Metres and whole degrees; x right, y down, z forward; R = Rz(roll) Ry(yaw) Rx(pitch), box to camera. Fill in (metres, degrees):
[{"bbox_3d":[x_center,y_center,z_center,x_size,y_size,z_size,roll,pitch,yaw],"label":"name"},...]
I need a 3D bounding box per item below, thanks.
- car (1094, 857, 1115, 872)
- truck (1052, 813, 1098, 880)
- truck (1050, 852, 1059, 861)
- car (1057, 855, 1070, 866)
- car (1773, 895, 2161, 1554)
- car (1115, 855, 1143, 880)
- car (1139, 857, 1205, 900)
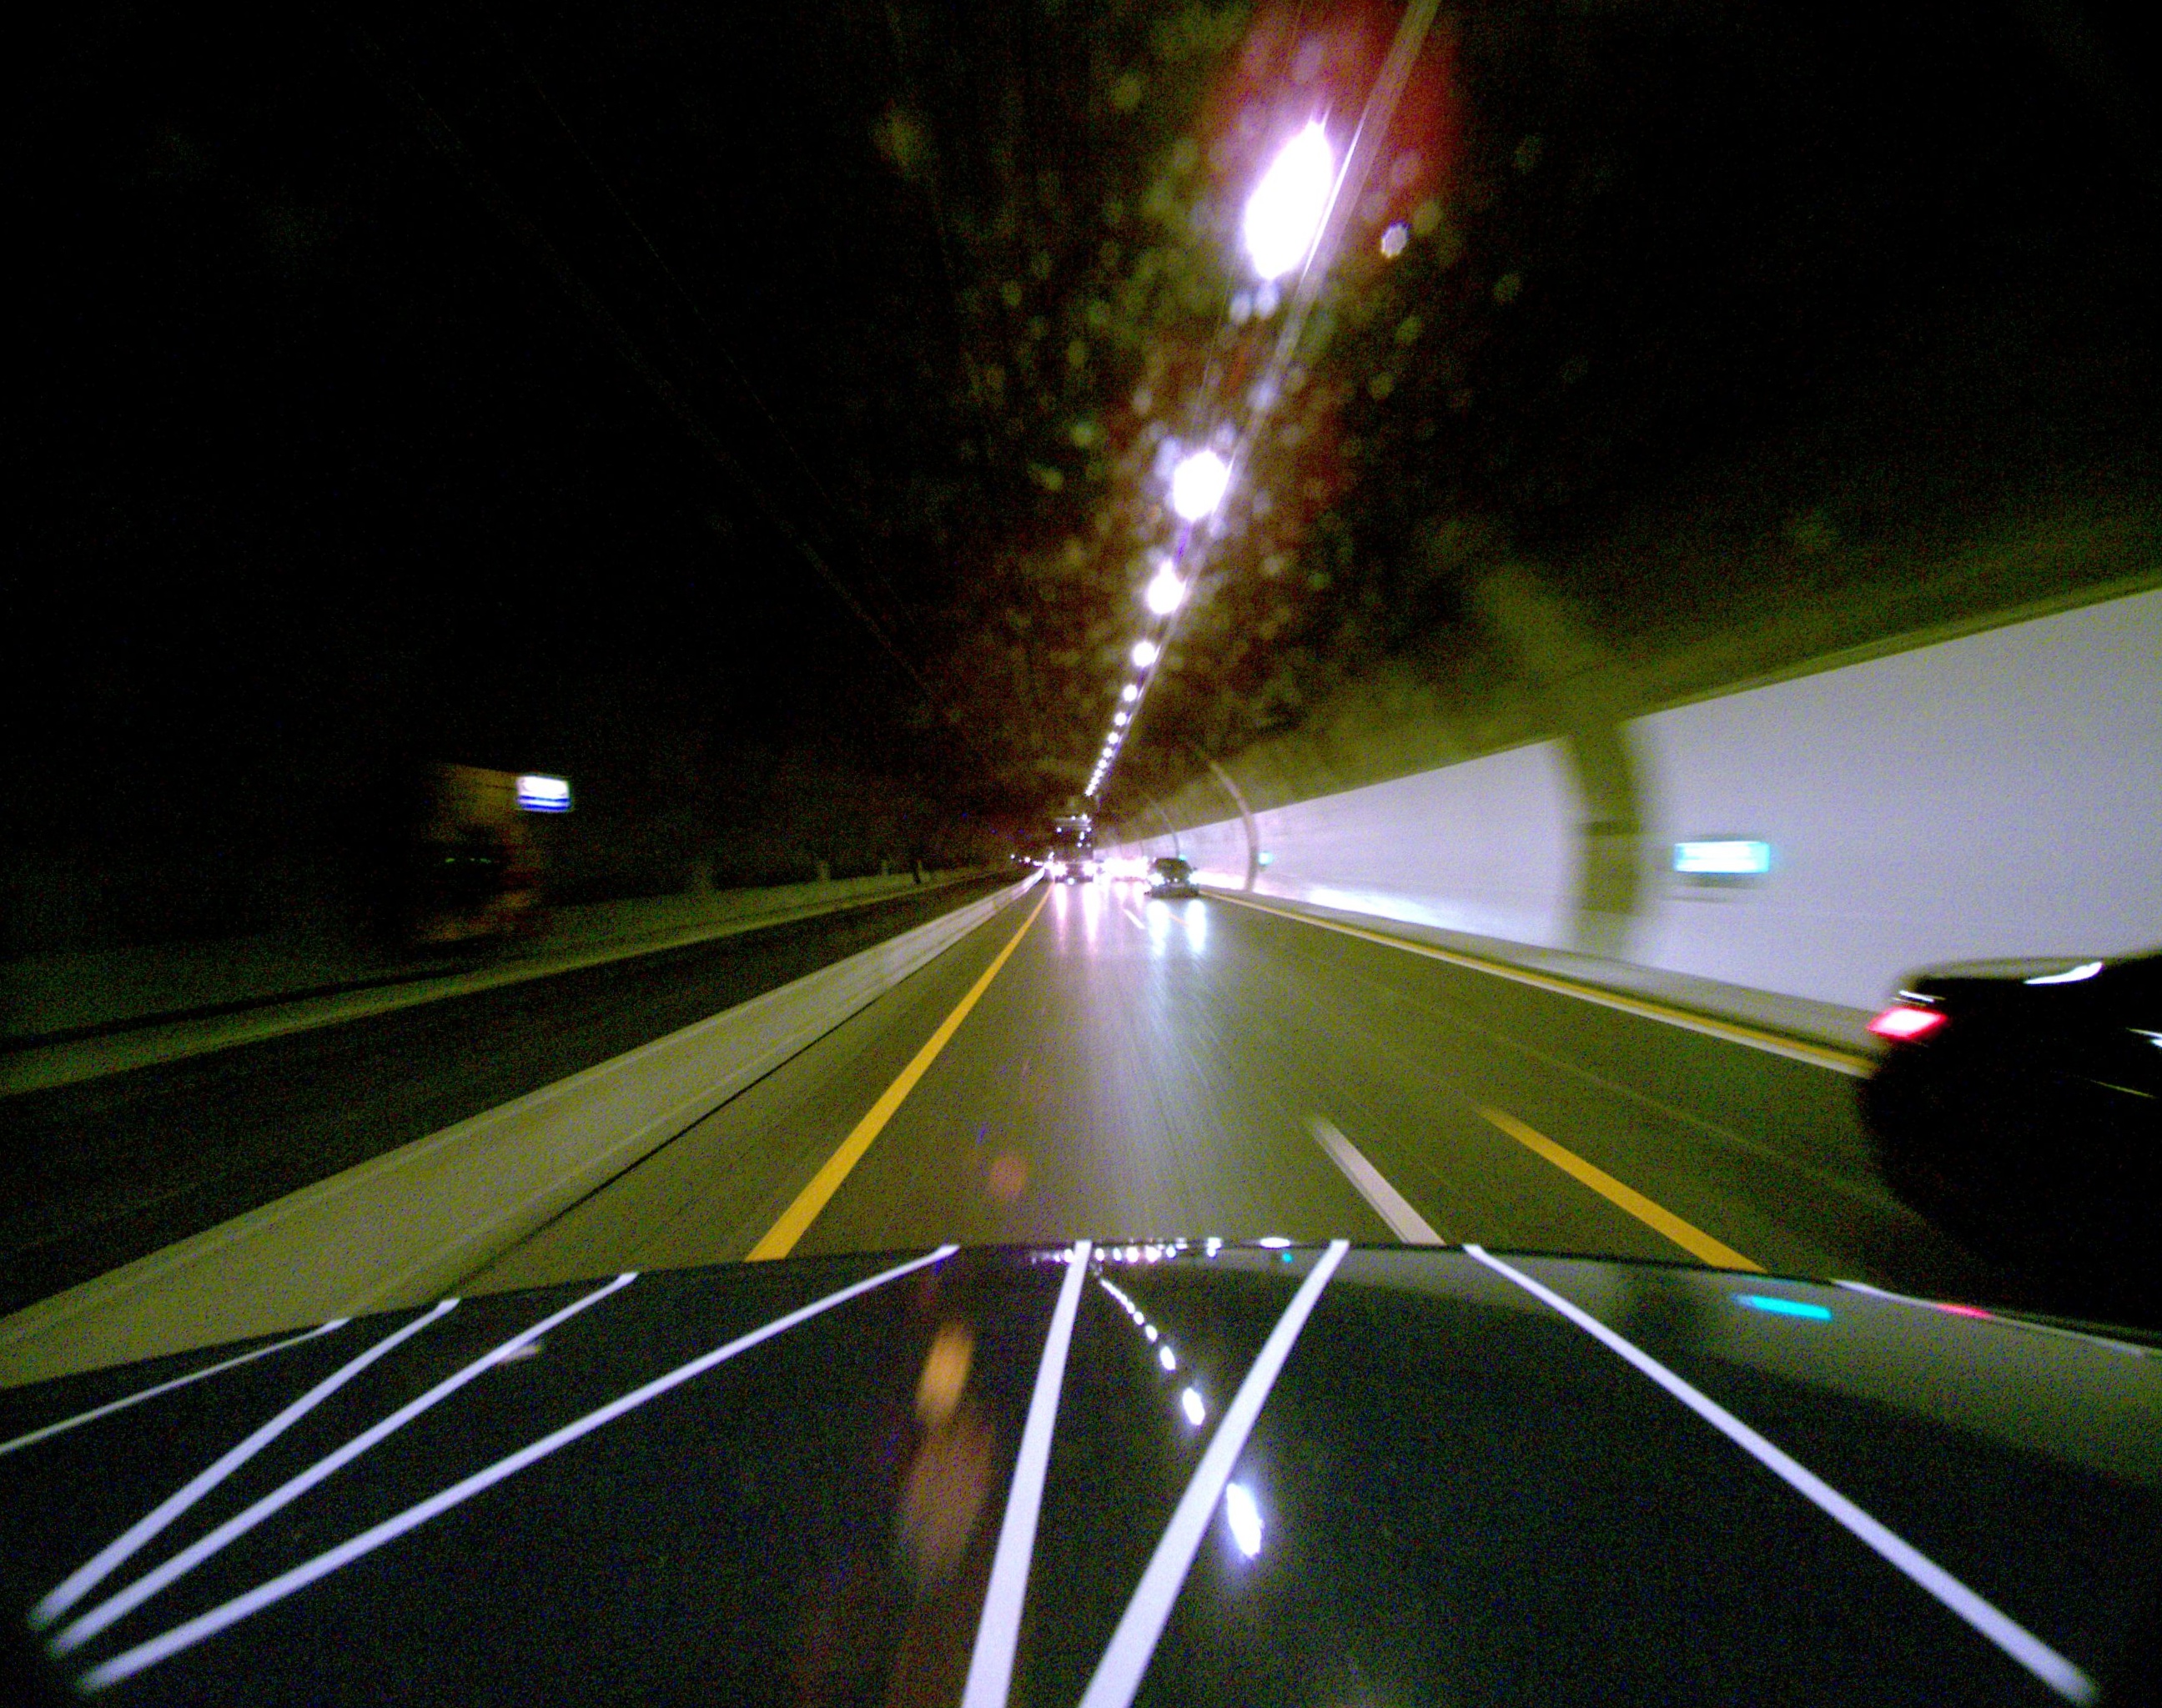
[{"bbox_3d":[2.354,1.075,77.944,1.909,1.412,4.060,-2,0,-1],"label":"car"},{"bbox_3d":[-0.392,-0.452,51.456,2.742,4.127,8.100,-2,0,0],"label":"truck"},{"bbox_3d":[-8.929,0.810,255.270,2.610,2.723,6.396,-2,0,-3],"label":"truck"},{"bbox_3d":[-2.735,1.019,118.212,1.999,1.524,3.999,-2,0,-2],"label":"car"},{"bbox_3d":[3.345,0.877,0.271,1.782,1.430,4.883,-2,0,1],"label":"car"},{"bbox_3d":[3.057,0.825,48.972,1.531,1.508,2.651,-2,0,-1],"label":"car"},{"bbox_3d":[3.428,0.885,29.532,1.783,1.430,4.882,-2,0,-2],"label":"car"}]
